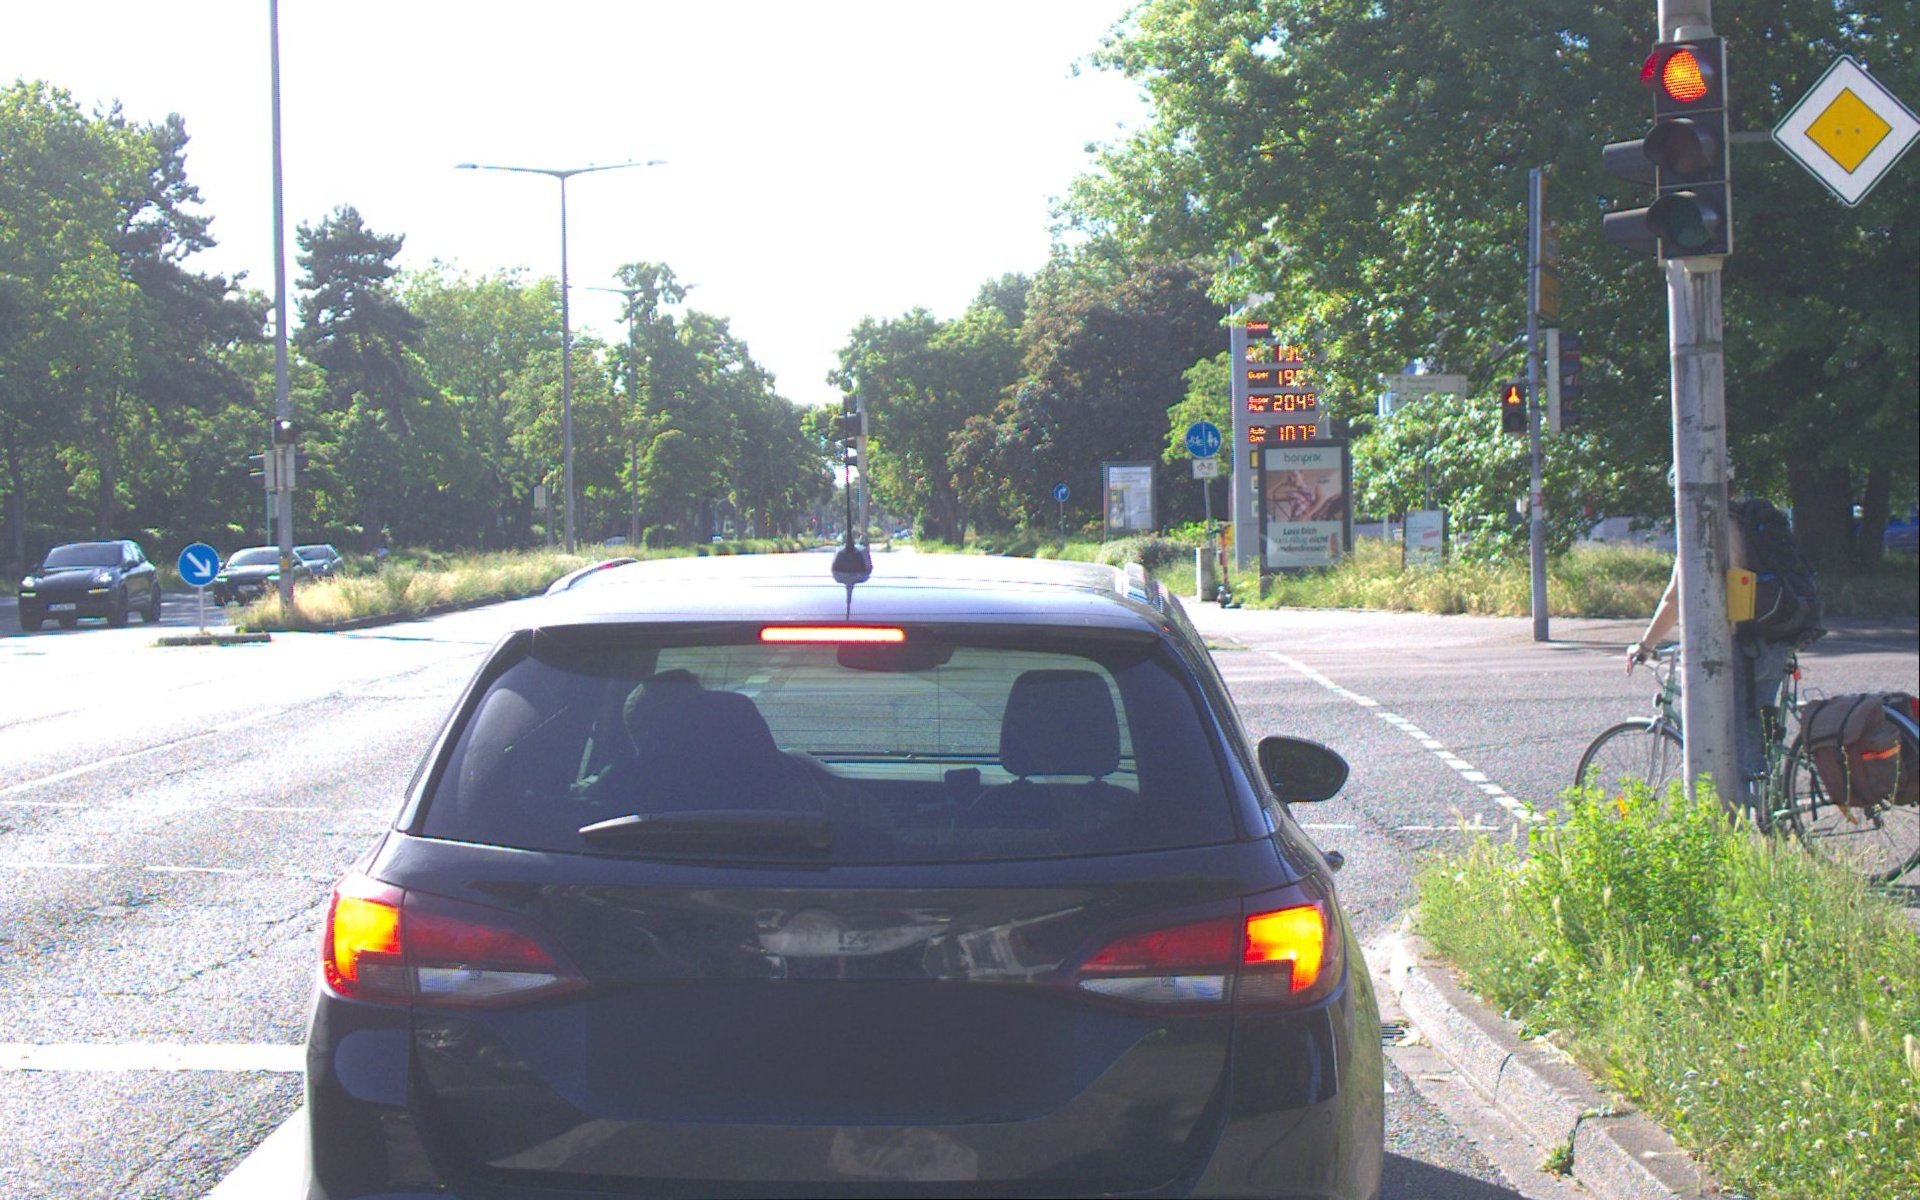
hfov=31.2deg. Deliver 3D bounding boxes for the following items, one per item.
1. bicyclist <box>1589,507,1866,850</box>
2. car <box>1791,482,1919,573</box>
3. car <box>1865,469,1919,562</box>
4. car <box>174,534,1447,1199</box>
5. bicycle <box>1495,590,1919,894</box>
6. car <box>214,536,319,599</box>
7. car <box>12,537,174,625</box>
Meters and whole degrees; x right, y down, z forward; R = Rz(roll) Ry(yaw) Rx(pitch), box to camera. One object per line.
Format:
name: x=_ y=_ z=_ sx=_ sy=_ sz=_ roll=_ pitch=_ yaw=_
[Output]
bicyclist: x=2.973 y=0.304 z=13.345 sx=0.536 sy=1.272 sz=0.829 roll=-3 pitch=0 yaw=-44
car: x=16.623 y=-1.289 z=59.815 sx=3.887 sy=1.512 sz=1.746 roll=-2 pitch=1 yaw=-23
car: x=17.098 y=-1.431 z=56.729 sx=3.887 sy=1.512 sz=1.746 roll=-2 pitch=1 yaw=-23
car: x=-0.230 y=0.631 z=6.861 sx=1.756 sy=1.490 sz=4.207 roll=0 pitch=1 yaw=-1
bicycle: x=2.981 y=0.546 z=13.347 sx=0.536 sy=1.094 sz=1.775 roll=-3 pitch=0 yaw=-44
car: x=-17.283 y=-0.829 z=85.835 sx=1.776 sy=1.458 sz=4.165 roll=-1 pitch=1 yaw=-1
car: x=-16.910 y=-0.406 z=67.268 sx=1.993 sy=1.596 sz=4.616 roll=-1 pitch=1 yaw=-1
